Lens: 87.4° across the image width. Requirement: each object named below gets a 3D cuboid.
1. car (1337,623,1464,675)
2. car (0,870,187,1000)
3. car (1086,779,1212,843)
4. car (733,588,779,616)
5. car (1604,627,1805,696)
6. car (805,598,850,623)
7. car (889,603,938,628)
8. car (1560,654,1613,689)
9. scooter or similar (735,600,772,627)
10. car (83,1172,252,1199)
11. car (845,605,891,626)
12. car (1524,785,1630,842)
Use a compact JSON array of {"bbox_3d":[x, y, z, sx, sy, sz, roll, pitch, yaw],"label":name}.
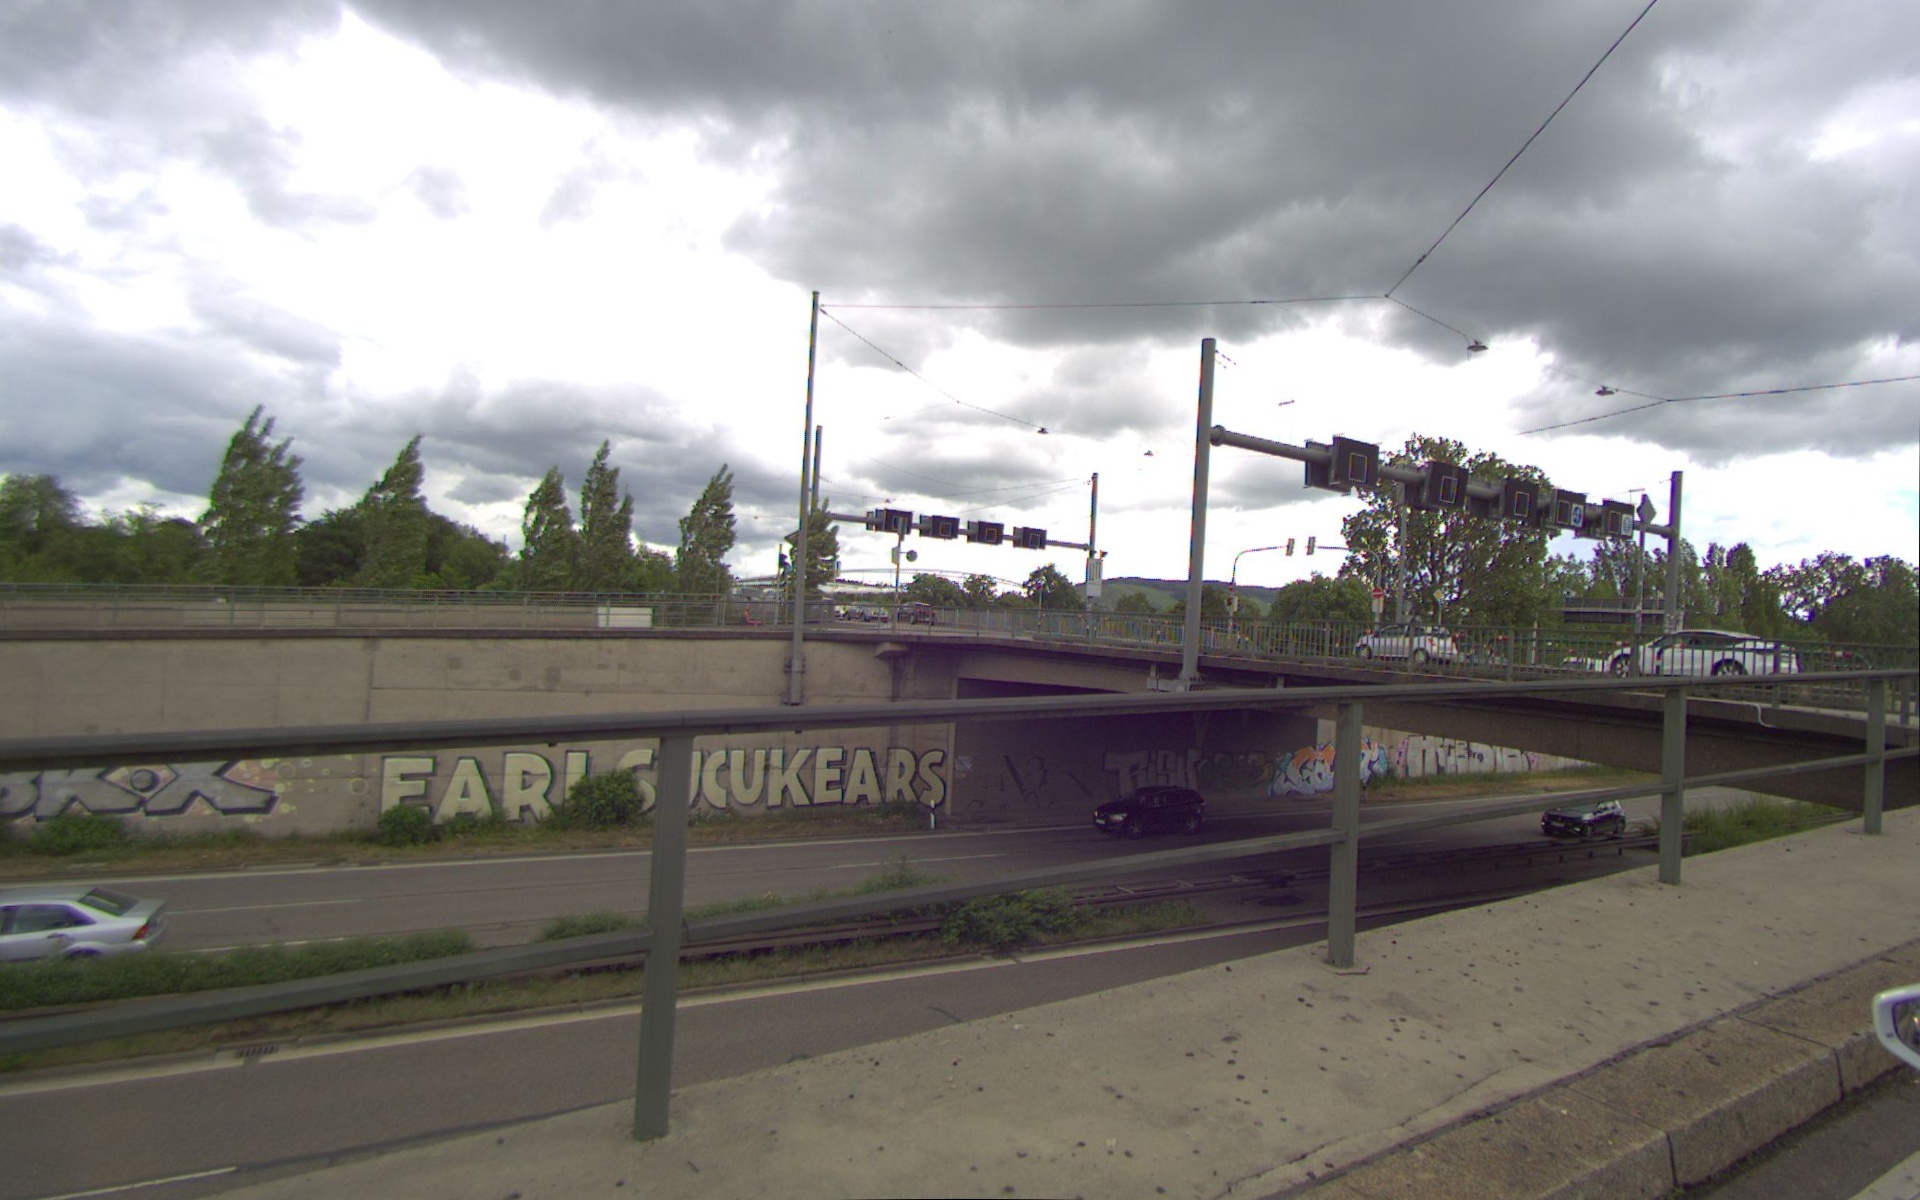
[{"bbox_3d":[16.401,1.777,37.566,1.917,1.740,3.964,1,0,-33],"label":"car"},{"bbox_3d":[-15.873,5.708,17.078,4.040,1.548,1.720,5,-2,-30],"label":"car"},{"bbox_3d":[7.023,7.732,37.145,4.360,1.865,1.922,4,-3,-30],"label":"car"},{"bbox_3d":[-15.114,0.161,74.247,1.711,2.040,4.442,1,0,-35],"label":"car"},{"bbox_3d":[21.535,1.710,29.280,1.909,1.740,4.383,1,0,-22],"label":"car"},{"bbox_3d":[-8.628,0.653,65.095,1.560,1.587,3.715,1,0,-31],"label":"car"},{"bbox_3d":[-3.390,1.098,73.219,1.915,1.740,3.966,1,0,-31],"label":"car"},{"bbox_3d":[43.816,4.955,70.262,3.626,2.245,1.843,1,0,-35],"label":"car"},{"bbox_3d":[-8.894,0.585,43.297,1.402,1.108,0.539,3,-2,-34],"label":"scooter or similar"},{"bbox_3d":[-7.185,5.366,6.239,4.227,1.823,1.833,4,-2,-28],"label":"car"},{"bbox_3d":[-6.096,1.024,66.468,1.537,1.372,3.860,1,0,-31],"label":"car"},{"bbox_3d":[25.829,8.880,42.006,4.374,1.865,1.984,4,-4,-30],"label":"car"}]
